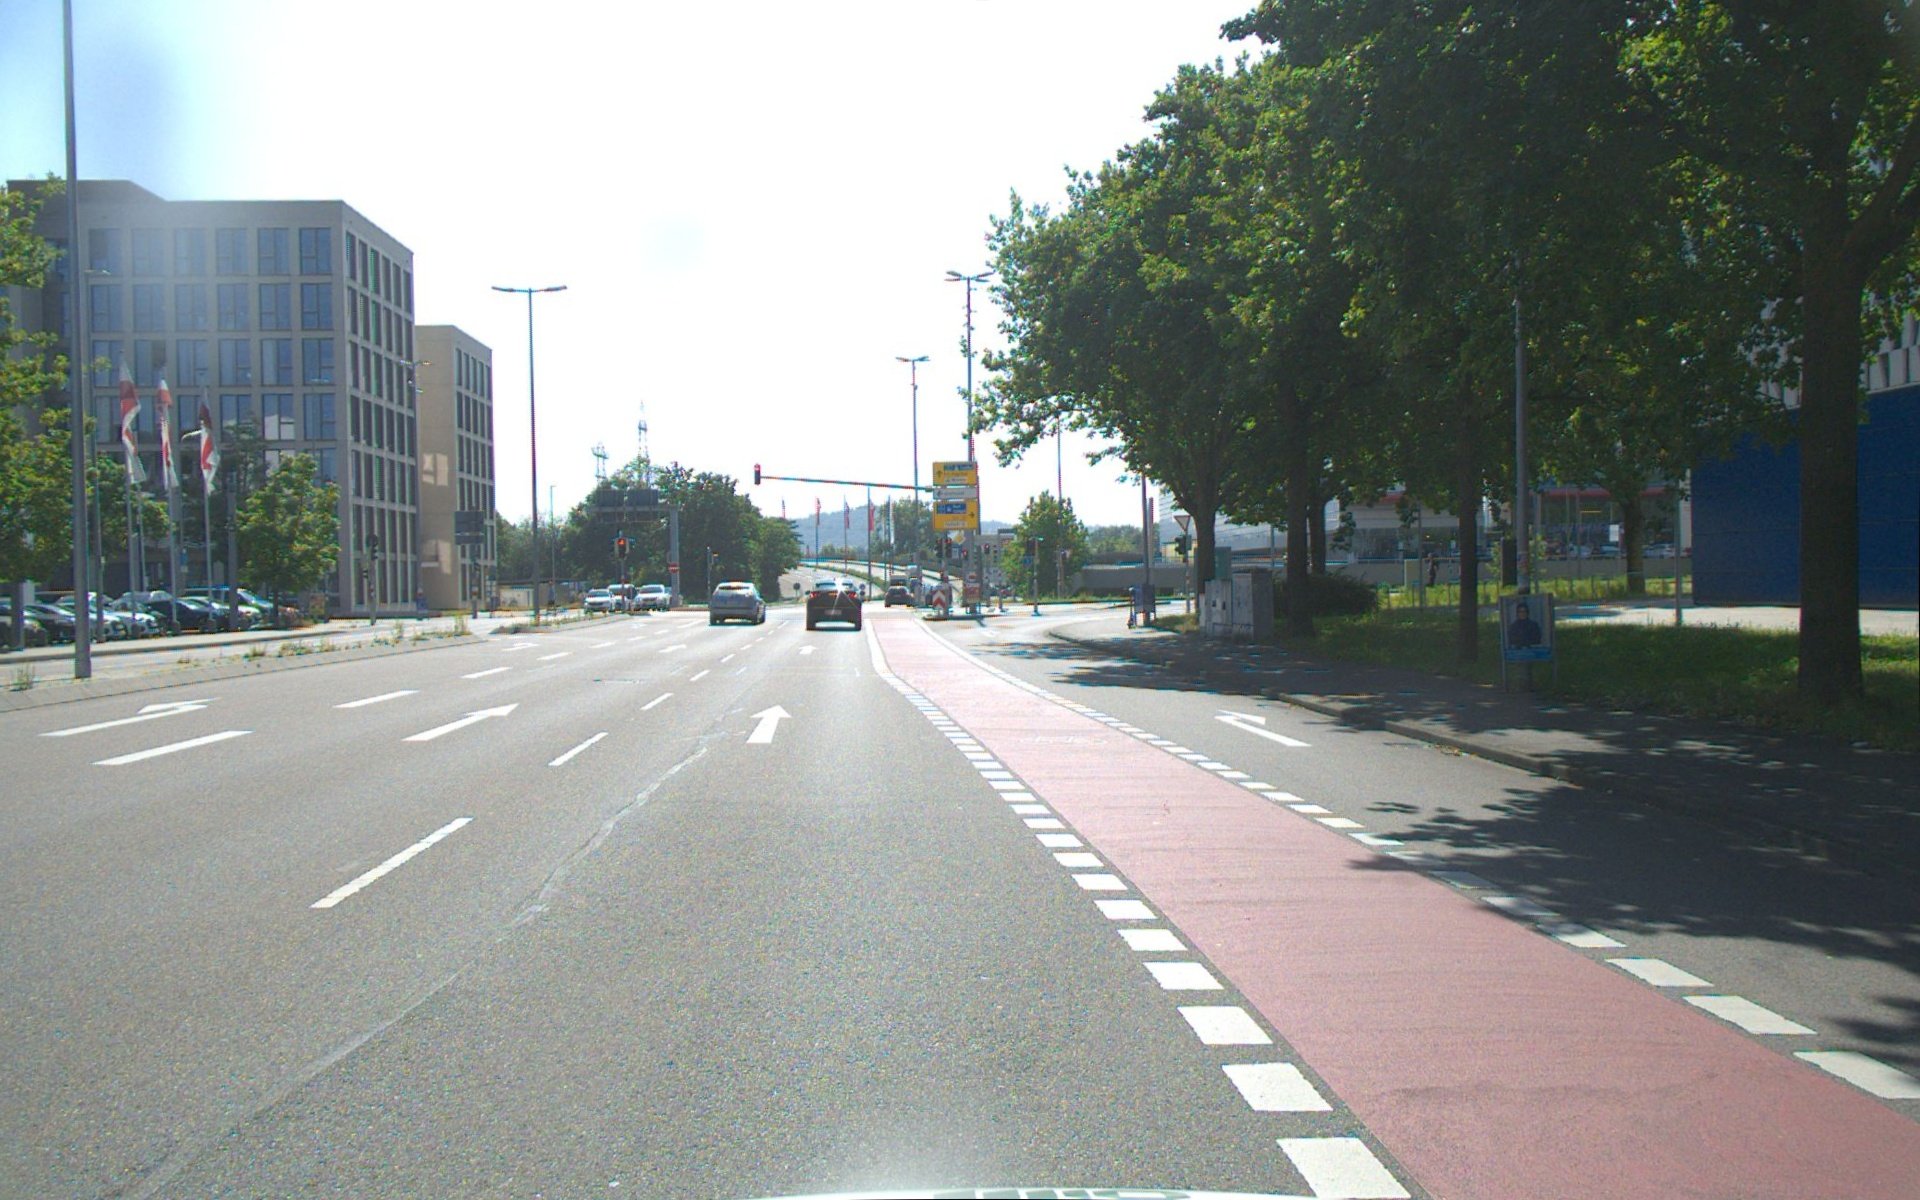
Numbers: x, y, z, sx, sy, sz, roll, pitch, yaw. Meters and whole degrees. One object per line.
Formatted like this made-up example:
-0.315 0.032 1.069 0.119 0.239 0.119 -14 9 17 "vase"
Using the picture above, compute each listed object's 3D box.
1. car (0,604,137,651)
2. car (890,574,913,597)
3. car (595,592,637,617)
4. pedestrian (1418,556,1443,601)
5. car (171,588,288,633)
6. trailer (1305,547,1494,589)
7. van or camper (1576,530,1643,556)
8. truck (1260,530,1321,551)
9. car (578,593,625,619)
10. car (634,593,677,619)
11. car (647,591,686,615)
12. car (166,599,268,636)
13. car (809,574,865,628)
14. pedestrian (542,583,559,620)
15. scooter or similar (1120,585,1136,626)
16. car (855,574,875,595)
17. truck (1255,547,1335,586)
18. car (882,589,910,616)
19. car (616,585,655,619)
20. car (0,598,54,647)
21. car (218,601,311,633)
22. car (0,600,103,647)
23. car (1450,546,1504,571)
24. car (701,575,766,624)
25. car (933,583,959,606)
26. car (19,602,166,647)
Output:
-29.238 0.880 53.799 3.909 1.366 1.998 -2 1 -4 "car"
-5.621 -1.419 159.011 1.952 2.048 4.002 1 2 2 "car"
-22.453 0.292 108.103 1.778 1.489 4.001 -2 0 1 "car"
19.307 -0.886 67.873 0.616 1.800 0.802 -2 0 -14 "pedestrian"
-36.130 0.489 81.914 4.815 2.086 1.999 -1 0 -2 "car"
28.298 -2.072 106.802 11.625 2.512 2.001 1 2 1 "trailer"
54.695 -4.818 139.355 4.885 2.048 1.999 1 2 -4 "van or camper"
33.739 -6.035 168.911 5.789 2.048 2.000 1 2 -1 "truck"
-21.833 0.354 100.765 1.853 1.489 4.001 -2 0 1 "car"
-18.790 0.359 102.129 1.778 1.489 4.001 -2 0 1 "car"
-19.342 0.161 109.078 1.778 1.489 4.001 -2 0 1 "car"
-30.059 0.695 67.004 3.342 1.366 1.645 -2 1 -1 "car"
-4.167 0.005 55.711 1.772 1.668 4.454 -2 1 -5 "car"
-23.191 0.061 93.666 0.747 2.048 0.926 0 2 -28 "pedestrian"
5.250 0.157 51.653 0.343 1.255 1.312 -2 0 10 "scooter or similar"
-9.824 -1.655 170.635 1.954 2.048 3.979 1 2 -3 "car"
21.617 -2.181 106.907 4.780 2.466 2.001 1 2 1 "truck"
-4.553 0.173 116.647 1.724 1.789 3.599 1 2 -6 "car"
-13.972 0.057 71.300 1.191 1.354 2.799 1 2 -2 "car"
-29.011 0.702 48.341 3.910 1.366 1.998 -2 1 -5 "car"
-35.828 0.875 85.273 3.907 1.489 1.999 -1 0 -2 "car"
-29.073 0.738 51.285 3.909 1.366 1.998 -2 1 -4 "car"
43.522 -3.497 139.251 3.909 2.048 1.998 1 2 -5 "car"
-8.311 -0.036 60.948 1.954 1.713 3.998 -2 1 -3 "car"
-0.961 -0.379 109.513 1.655 1.382 4.000 1 2 -1 "car"
-29.408 0.827 56.180 3.909 1.366 1.998 -2 1 -4 "car"
